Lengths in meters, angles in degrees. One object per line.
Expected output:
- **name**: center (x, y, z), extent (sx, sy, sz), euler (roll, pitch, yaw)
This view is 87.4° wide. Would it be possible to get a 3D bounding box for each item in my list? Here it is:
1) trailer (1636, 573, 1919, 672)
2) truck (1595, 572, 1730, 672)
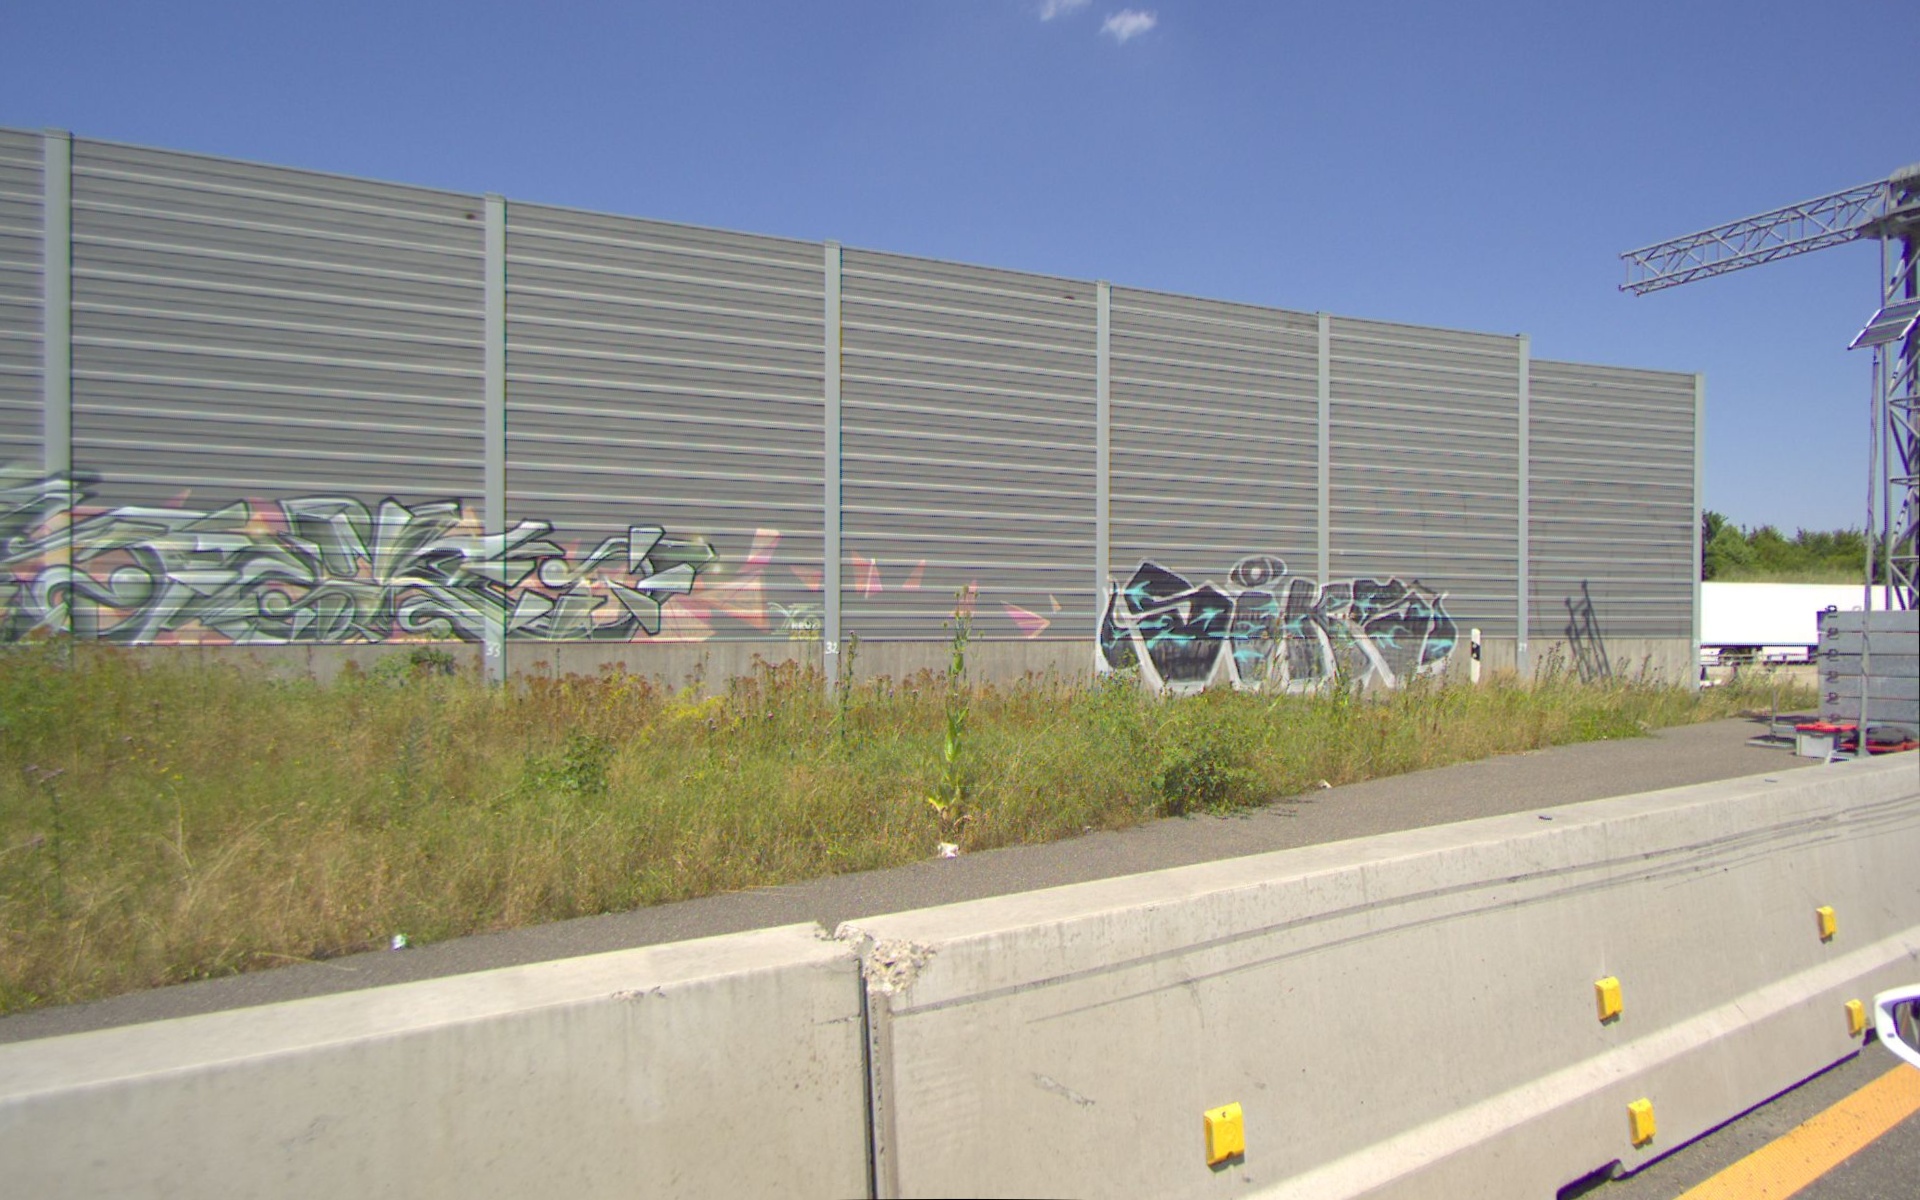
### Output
- **trailer**: center (40.541, 1.135, 49.399), extent (14.670, 4.560, 2.666), euler (1, 1, -13)
- **truck**: center (33.371, 1.019, 47.780), extent (4.758, 4.560, 2.666), euler (1, 1, -12)
